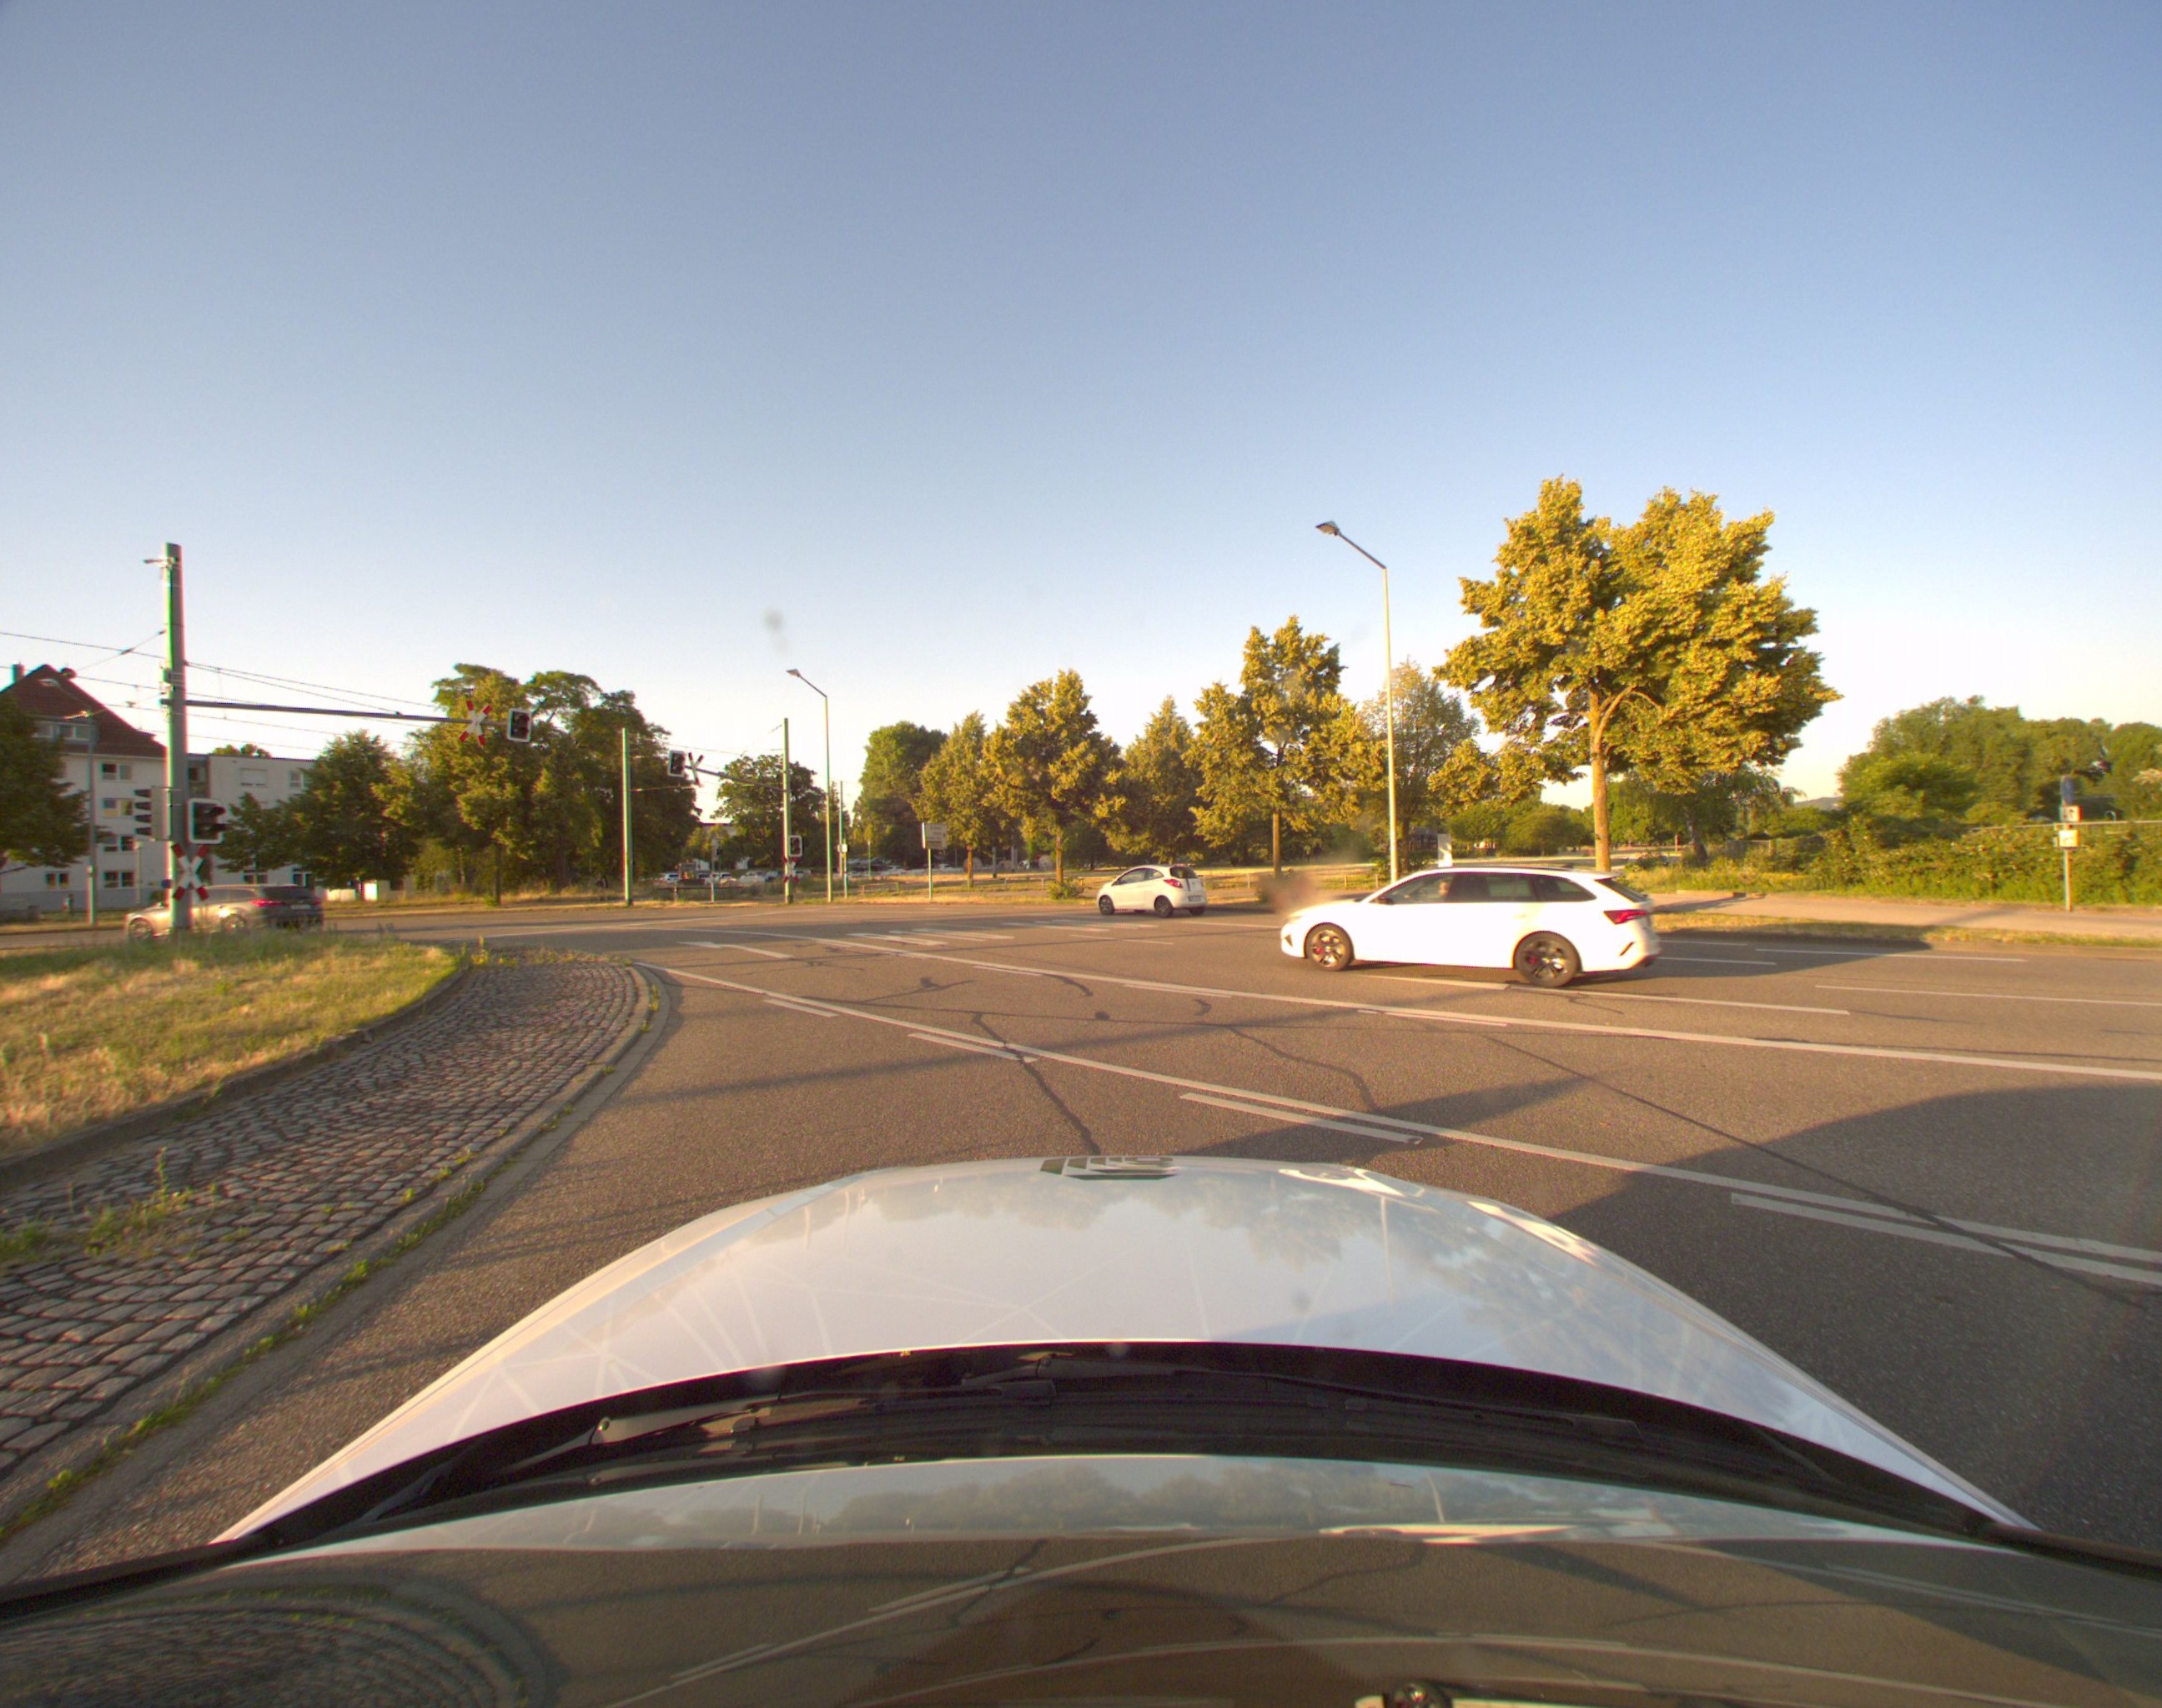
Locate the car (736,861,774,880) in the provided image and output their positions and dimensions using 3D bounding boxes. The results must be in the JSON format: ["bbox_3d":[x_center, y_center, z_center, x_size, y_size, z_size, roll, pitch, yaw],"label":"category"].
[{"bbox_3d":[-36.961,1.864,92.260,3.948,2.098,2.013,-2,0,34],"label":"car"}]

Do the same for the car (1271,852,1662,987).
[{"bbox_3d":[5.056,0.776,11.007,4.490,1.448,1.739,-2,0,36],"label":"car"}]

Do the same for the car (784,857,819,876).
[{"bbox_3d":[-33.538,1.498,97.697,3.948,2.098,2.013,-2,0,34],"label":"car"}]

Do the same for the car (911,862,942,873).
[{"bbox_3d":[-21.849,1.894,114.924,3.948,1.551,2.013,-2,0,33],"label":"car"}]

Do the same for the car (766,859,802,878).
[{"bbox_3d":[-34.705,1.750,95.179,3.948,2.098,2.013,-2,0,34],"label":"car"}]

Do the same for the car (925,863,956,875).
[{"bbox_3d":[-20.071,2.114,116.375,3.948,1.551,2.013,-2,0,33],"label":"car"}]

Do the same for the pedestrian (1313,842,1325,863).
[{"bbox_3d":[18.284,-0.099,62.526,0.622,1.626,0.525,-1,0,-28],"label":"pedestrian"}]

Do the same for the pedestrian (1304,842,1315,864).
[{"bbox_3d":[17.564,-0.082,62.699,0.582,1.626,0.528,-1,0,-30],"label":"pedestrian"}]

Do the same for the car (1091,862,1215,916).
[{"bbox_3d":[2.064,0.998,24.038,1.563,1.443,3.444,0,-1,-44],"label":"car"}]

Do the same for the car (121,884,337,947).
[{"bbox_3d":[-23.671,1.682,22.739,4.108,1.466,1.751,-2,0,-1],"label":"car"}]

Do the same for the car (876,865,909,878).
[{"bbox_3d":[-25.172,2.342,108.601,3.948,1.551,2.013,-2,0,33],"label":"car"}]
